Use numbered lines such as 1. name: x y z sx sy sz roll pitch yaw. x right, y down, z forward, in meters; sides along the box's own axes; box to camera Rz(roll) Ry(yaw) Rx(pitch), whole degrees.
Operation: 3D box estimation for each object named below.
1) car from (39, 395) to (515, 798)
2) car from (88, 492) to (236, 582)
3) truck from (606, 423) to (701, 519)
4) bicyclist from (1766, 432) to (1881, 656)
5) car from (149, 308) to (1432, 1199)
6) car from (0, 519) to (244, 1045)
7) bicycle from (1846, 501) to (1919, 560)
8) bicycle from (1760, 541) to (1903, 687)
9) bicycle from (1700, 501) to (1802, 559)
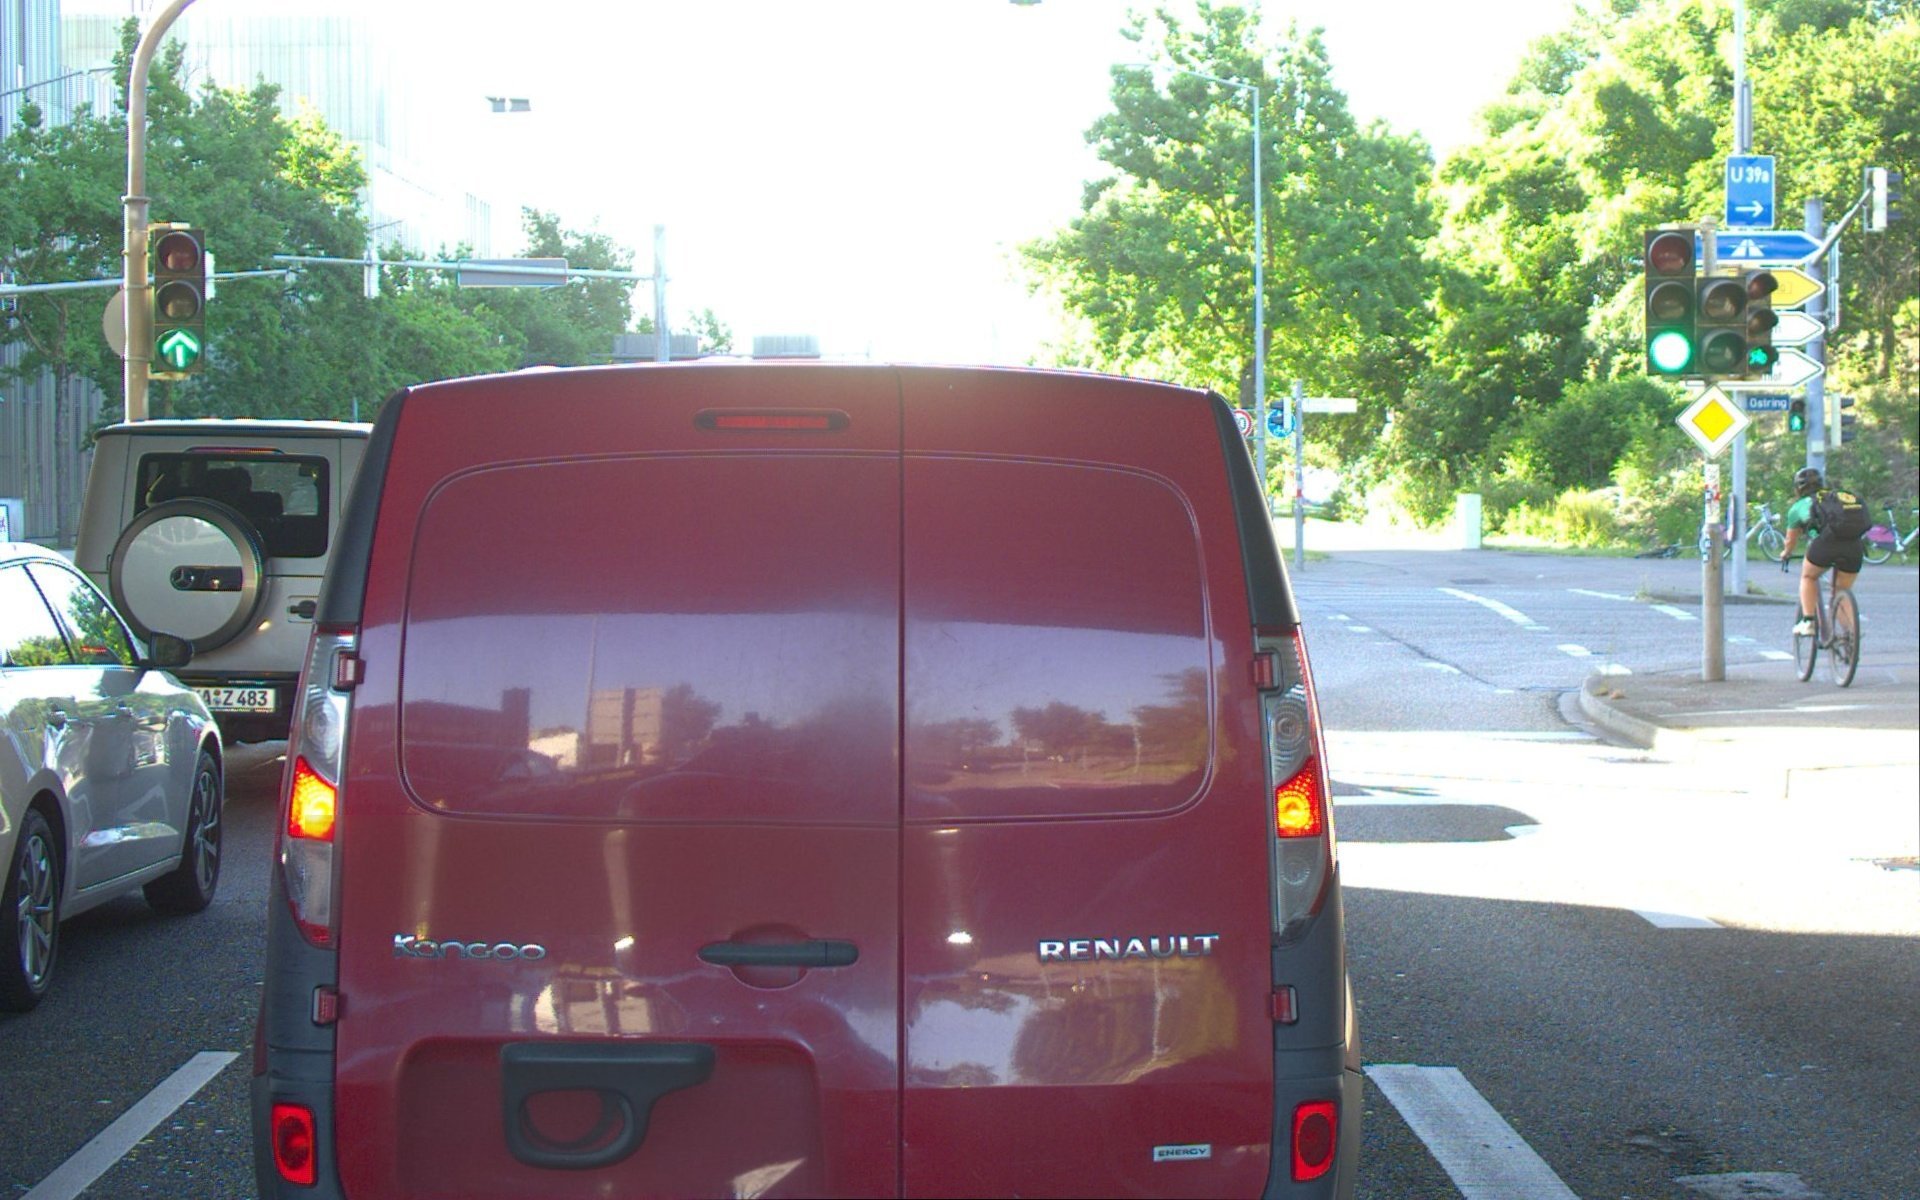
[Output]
1. car: -3.701 -0.038 19.417 1.801 1.982 4.589 1 1 -1
2. car: -16.575 -1.342 71.629 1.825 1.731 4.629 -2 2 1
3. truck: -10.181 -4.264 114.645 2.409 3.016 6.657 -2 2 0
4. bicyclist: 6.345 -0.409 25.290 0.592 1.608 0.942 1 0 0
5. car: -0.267 0.473 6.884 1.805 1.788 4.000 1 1 -1
6. car: -3.633 0.466 11.406 1.813 1.433 3.731 0 2 -1
7. bicycle: 16.650 -1.227 60.997 1.745 1.020 0.593 1 0 9
8. bicycle: 6.353 0.091 25.142 0.592 1.020 1.750 1 1 0
9. bicycle: 14.348 -1.273 62.384 1.745 1.020 0.593 1 0 9
